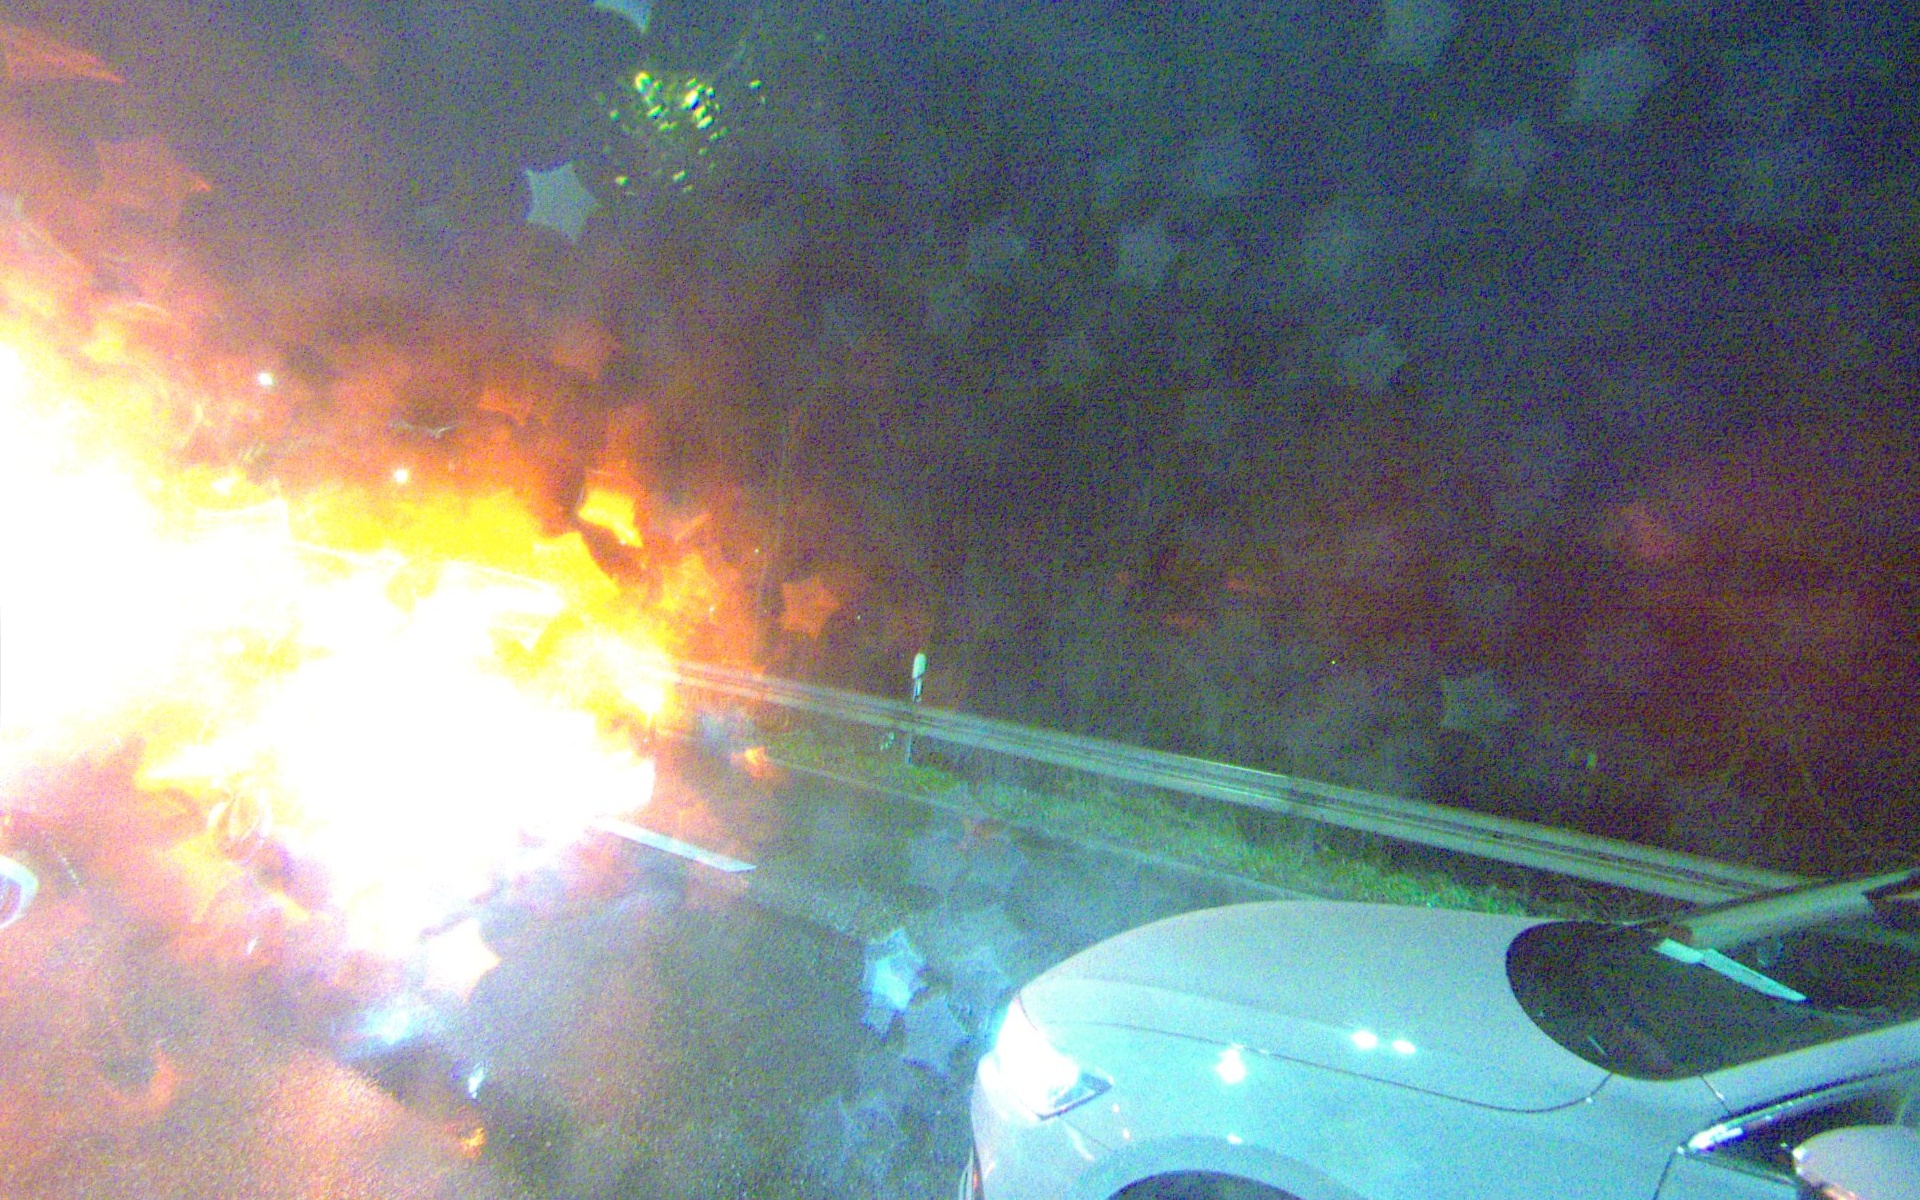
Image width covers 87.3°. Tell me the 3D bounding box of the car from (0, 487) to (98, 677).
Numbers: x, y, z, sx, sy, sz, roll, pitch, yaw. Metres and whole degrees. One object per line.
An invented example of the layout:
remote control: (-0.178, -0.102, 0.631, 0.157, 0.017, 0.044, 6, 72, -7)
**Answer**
car: (-9.722, -0.362, 9.013, 3.892, 1.539, 1.681, 6, -2, 29)

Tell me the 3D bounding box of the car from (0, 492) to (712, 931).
car: (-3.726, 0.389, 5.754, 4.484, 1.523, 1.676, 6, -2, 32)

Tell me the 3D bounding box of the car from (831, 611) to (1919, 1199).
car: (2.055, 1.068, 1.576, 4.342, 1.539, 1.710, 6, -2, 32)
